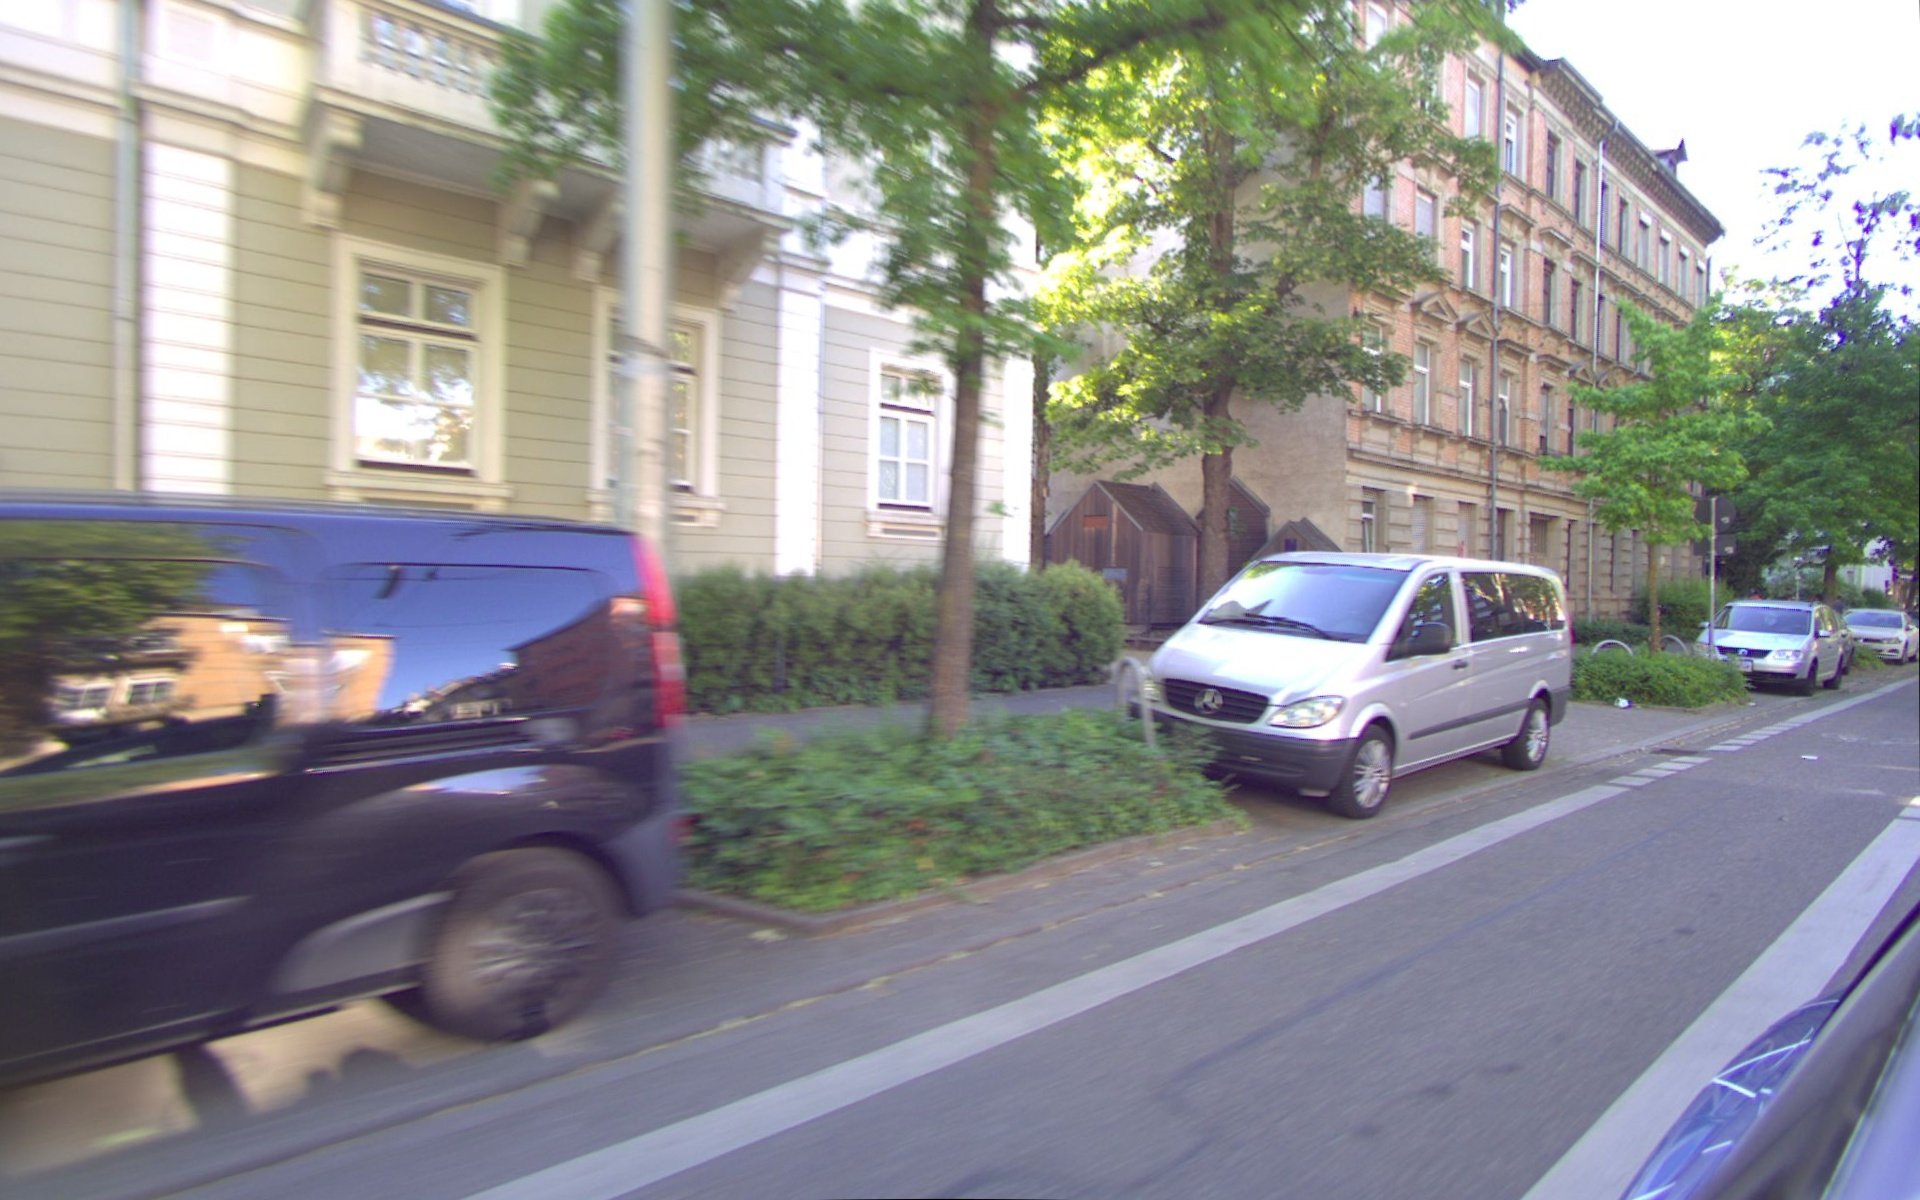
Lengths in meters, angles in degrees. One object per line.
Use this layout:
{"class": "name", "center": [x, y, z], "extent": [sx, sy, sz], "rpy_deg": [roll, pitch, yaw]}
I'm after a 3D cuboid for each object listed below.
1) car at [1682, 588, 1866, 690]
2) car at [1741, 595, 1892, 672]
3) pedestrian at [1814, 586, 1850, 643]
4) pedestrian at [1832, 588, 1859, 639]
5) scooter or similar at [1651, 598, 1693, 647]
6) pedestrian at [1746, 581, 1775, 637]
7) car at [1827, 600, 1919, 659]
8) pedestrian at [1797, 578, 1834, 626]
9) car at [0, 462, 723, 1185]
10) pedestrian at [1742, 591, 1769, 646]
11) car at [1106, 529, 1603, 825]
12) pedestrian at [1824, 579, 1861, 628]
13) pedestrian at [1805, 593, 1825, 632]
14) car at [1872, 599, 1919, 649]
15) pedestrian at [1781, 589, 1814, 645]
{"class": "car", "center": [15.219, 0.638, 18.859], "extent": [4.168, 1.587, 1.888], "rpy_deg": [0, 4, -41]}
{"class": "car", "center": [19.657, 0.689, 23.165], "extent": [4.513, 1.485, 1.888], "rpy_deg": [0, 4, -41]}
{"class": "pedestrian", "center": [26.568, 0.427, 30.823], "extent": [0.941, 1.714, 0.727], "rpy_deg": [0, 0, -43]}
{"class": "pedestrian", "center": [32.065, 0.476, 36.655], "extent": [0.726, 1.816, 0.591], "rpy_deg": [0, 0, 44]}
{"class": "scooter or similar", "center": [18.954, 0.576, 26.936], "extent": [1.311, 1.262, 0.577], "rpy_deg": [0, 0, -40]}
{"class": "pedestrian", "center": [26.293, 0.282, 33.249], "extent": [0.715, 1.816, 0.600], "rpy_deg": [0, 0, -39]}
{"class": "car", "center": [25.628, 0.763, 27.959], "extent": [4.035, 1.384, 1.888], "rpy_deg": [0, 4, -41]}
{"class": "pedestrian", "center": [32.930, 0.084, 38.952], "extent": [0.948, 1.815, 0.729], "rpy_deg": [1, 2, -30]}
{"class": "car", "center": [-3.239, 0.524, 2.982], "extent": [4.596, 1.788, 1.889], "rpy_deg": [0, 2, -41]}
{"class": "pedestrian", "center": [26.495, 0.597, 33.706], "extent": [0.716, 1.816, 0.599], "rpy_deg": [0, 0, -43]}
{"class": "car", "center": [3.630, 0.443, 8.783], "extent": [4.880, 1.873, 1.888], "rpy_deg": [0, 4, -41]}
{"class": "pedestrian", "center": [33.497, 0.123, 38.420], "extent": [0.836, 1.815, 0.729], "rpy_deg": [1, 2, -30]}
{"class": "pedestrian", "center": [38.210, 0.542, 45.208], "extent": [0.615, 1.747, 0.547], "rpy_deg": [0, 0, 34]}
{"class": "car", "center": [30.510, 0.754, 32.267], "extent": [3.777, 1.429, 1.676], "rpy_deg": [0, 4, -42]}
{"class": "pedestrian", "center": [26.127, 0.521, 31.573], "extent": [0.726, 1.731, 0.842], "rpy_deg": [0, 0, 44]}
